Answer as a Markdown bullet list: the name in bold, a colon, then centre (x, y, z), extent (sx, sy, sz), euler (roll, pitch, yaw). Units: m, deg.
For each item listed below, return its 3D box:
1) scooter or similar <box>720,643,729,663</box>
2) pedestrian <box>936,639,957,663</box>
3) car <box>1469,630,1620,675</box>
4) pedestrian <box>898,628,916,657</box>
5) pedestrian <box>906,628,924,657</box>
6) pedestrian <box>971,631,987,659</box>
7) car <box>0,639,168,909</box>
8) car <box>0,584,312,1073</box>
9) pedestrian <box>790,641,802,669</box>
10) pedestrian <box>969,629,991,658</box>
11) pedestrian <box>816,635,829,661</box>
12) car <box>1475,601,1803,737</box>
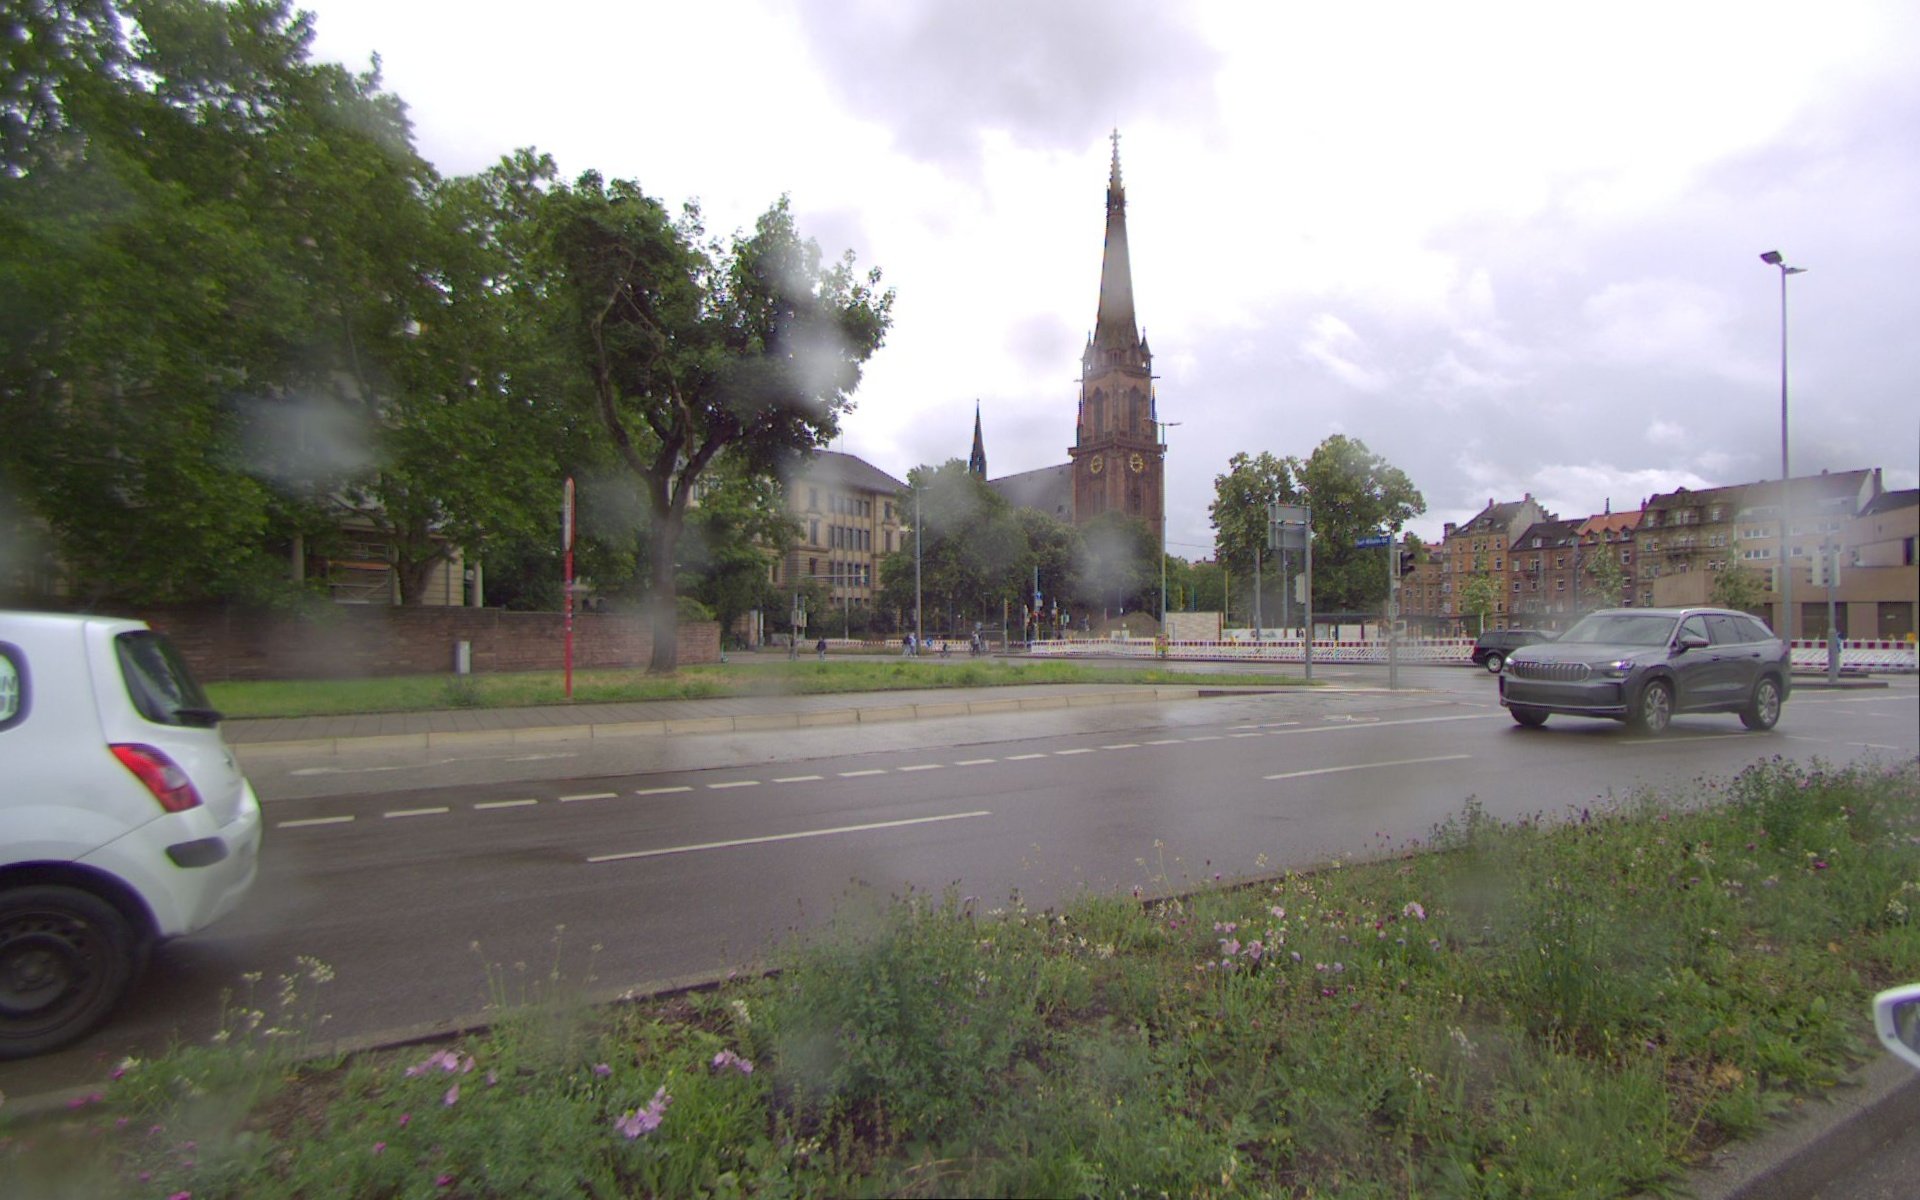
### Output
- **scooter or similar**: centre (-13.163, 2.937, 56.139), extent (0.274, 1.096, 1.078), euler (0, -1, -2)
- **pedestrian**: centre (-0.901, 3.411, 67.422), extent (0.918, 1.560, 1.057), euler (-1, -2, 36)
- **car**: centre (19.657, 1.721, 33.959), extent (1.601, 1.421, 4.166), euler (1, -2, -34)
- **pedestrian**: centre (-3.694, 2.964, 70.029), extent (0.944, 2.040, 0.852), euler (1, -1, -28)
- **pedestrian**: centre (-3.123, 2.922, 69.310), extent (0.944, 2.040, 0.852), euler (1, -1, -28)
- **pedestrian**: centre (1.262, 2.951, 66.308), extent (0.765, 1.801, 0.721), euler (1, -1, -28)
- **car**: centre (-6.888, 0.934, 5.222), extent (4.108, 1.423, 1.672), euler (1, -3, -30)
- **car**: centre (-4.450, 0.729, 3.264), extent (3.822, 1.521, 1.672), euler (1, -3, -30)
- **pedestrian**: centre (-11.522, 3.861, 70.580), extent (0.596, 1.915, 0.601), euler (1, -1, -34)
- **pedestrian**: centre (1.375, 3.035, 70.079), extent (0.982, 2.040, 1.305), euler (-1, -2, 36)
- **pedestrian**: centre (-8.313, 2.892, 60.604), extent (0.662, 1.520, 0.774), euler (0, -1, 2)
- **car**: centre (9.657, 0.928, 14.242), extent (4.547, 1.657, 1.986), euler (1, -4, -29)
